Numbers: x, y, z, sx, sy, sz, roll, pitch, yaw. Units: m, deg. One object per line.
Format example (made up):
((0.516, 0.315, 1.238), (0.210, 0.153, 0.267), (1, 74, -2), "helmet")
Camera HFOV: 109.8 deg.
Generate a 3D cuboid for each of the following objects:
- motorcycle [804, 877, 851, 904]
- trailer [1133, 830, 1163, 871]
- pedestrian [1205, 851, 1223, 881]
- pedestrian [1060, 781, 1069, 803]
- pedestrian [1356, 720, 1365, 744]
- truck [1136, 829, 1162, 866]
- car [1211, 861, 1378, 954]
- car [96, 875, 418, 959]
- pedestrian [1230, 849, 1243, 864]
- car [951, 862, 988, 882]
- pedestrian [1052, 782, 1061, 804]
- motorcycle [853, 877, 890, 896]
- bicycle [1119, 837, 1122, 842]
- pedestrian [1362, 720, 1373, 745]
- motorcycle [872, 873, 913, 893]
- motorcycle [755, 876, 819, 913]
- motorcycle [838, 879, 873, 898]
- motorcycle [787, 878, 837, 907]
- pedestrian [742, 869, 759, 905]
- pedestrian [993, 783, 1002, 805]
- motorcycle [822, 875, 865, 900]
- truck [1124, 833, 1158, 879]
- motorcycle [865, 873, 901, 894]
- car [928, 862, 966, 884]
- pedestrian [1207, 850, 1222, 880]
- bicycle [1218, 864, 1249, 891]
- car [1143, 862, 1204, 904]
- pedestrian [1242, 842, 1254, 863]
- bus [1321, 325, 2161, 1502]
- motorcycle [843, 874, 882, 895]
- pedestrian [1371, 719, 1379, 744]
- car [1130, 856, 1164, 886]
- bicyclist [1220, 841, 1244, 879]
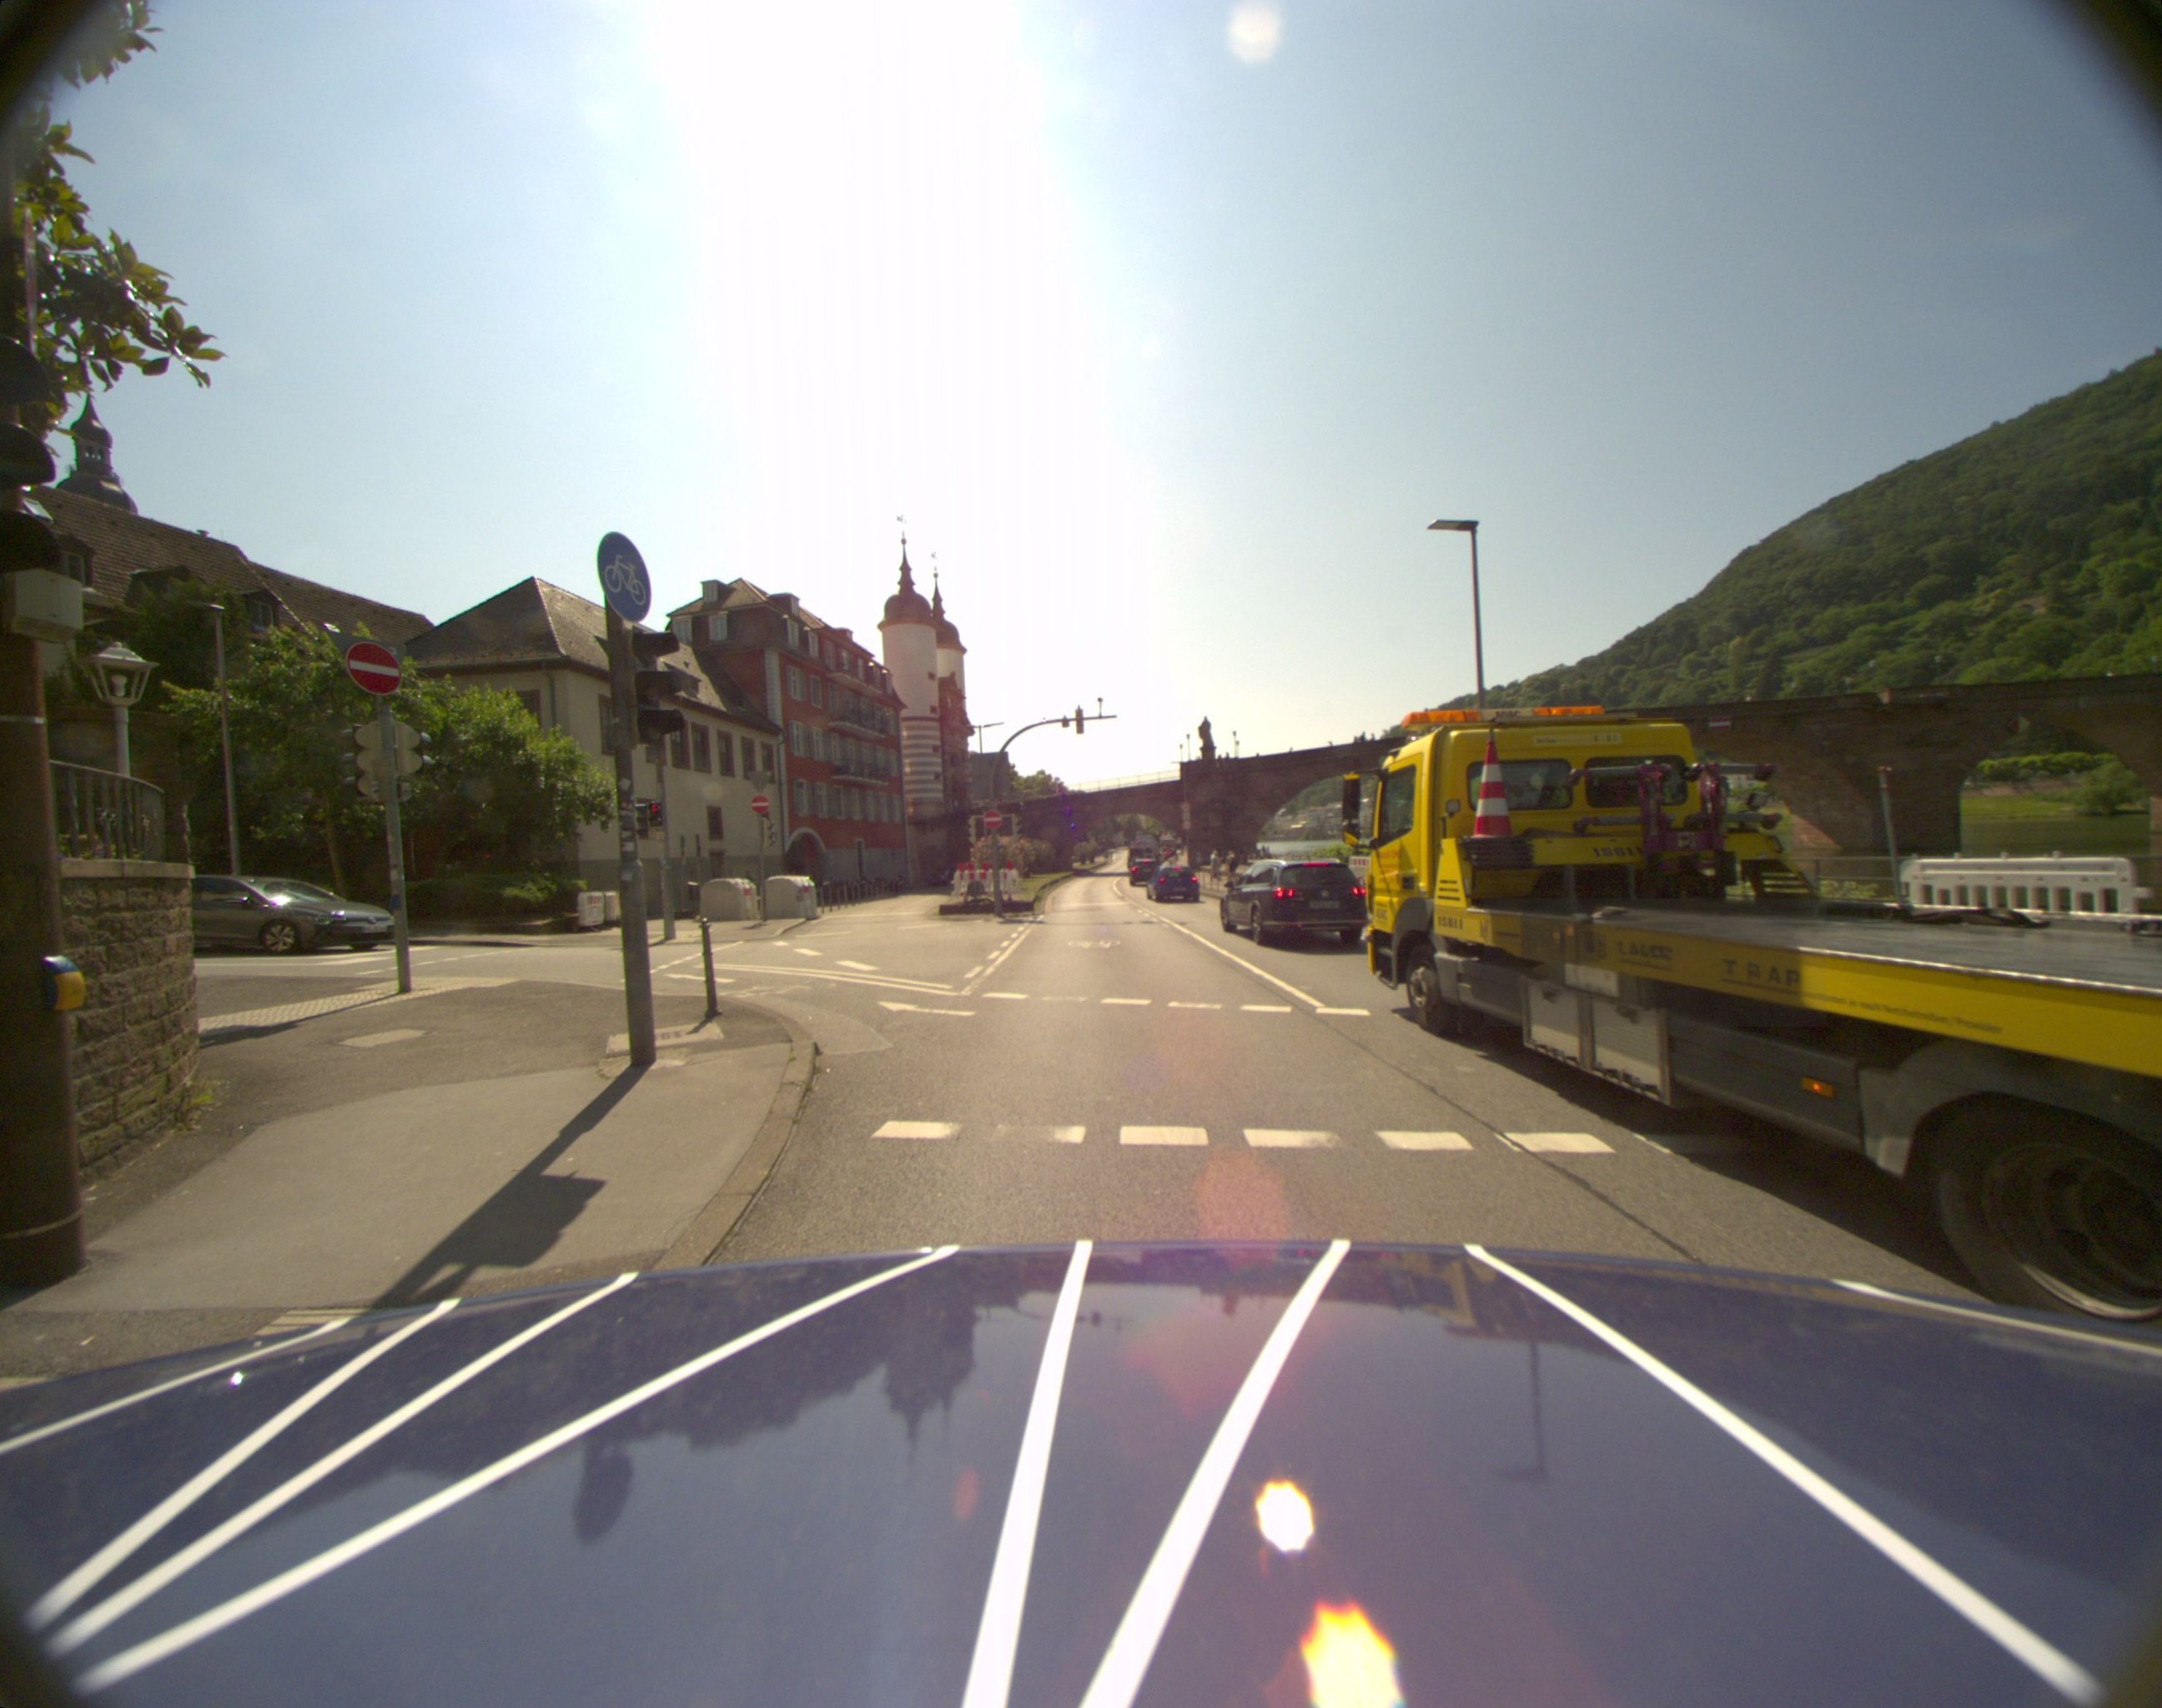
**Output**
((-13.339, 1.893, 39.975), (2.201, 1.260, 0.627), (-3, 1, -31), "motorcycle")
((6.539, -0.495, 73.723), (2.529, 3.623, 11.532), (-2, 1, 5), "trailer")
((7.735, 0.689, 44.315), (0.758, 1.712, 0.543), (-4, 1, -33), "pedestrian")
((-1.587, -5.941, 73.016), (0.640, 2.002, 0.707), (-2, 2, 8), "pedestrian")
((24.386, -10.632, 66.265), (0.467, 2.002, 0.639), (-2, 2, 0), "pedestrian")
((7.173, -0.675, 79.990), (2.529, 3.727, 6.248), (-1, 1, 6), "truck")
((3.809, 0.883, 14.396), (1.813, 1.398, 4.356), (-2, 0, -1), "car")
((-15.500, 1.185, 14.491), (3.997, 1.476, 1.862), (0, -3, -1), "car")
((13.043, 0.191, 63.764), (0.790, 1.222, 1.026), (-3, 0, 3), "pedestrian")
((-10.011, 1.593, 68.596), (1.896, 1.484, 4.418), (-2, 1, 10), "car")
((-2.402, -5.942, 74.079), (0.640, 2.002, 0.707), (-2, 2, 8), "pedestrian")
((-13.567, 2.069, 49.165), (2.202, 1.070, 0.627), (-3, 1, -39), "motorcycle")
((9.283, -3.448, 177.967), (0.476, 1.255, 2.163), (0, 2, 8), "bicycle")
((24.981, -10.590, 66.307), (0.694, 2.002, 0.625), (-2, 2, 0), "pedestrian")
((-13.065, 2.009, 52.738), (2.547, 1.226, 0.840), (-3, 0, -36), "motorcycle")
((-13.484, 1.836, 34.925), (2.501, 1.524, 1.051), (-3, 1, -33), "motorcycle")
((-13.648, 2.100, 46.100), (1.935, 0.981, 0.546), (-3, 1, -39), "motorcycle")
((-13.519, 1.927, 38.225), (2.239, 1.245, 0.627), (-3, 1, -31), "motorcycle")
((-16.876, 1.678, 38.822), (0.496, 1.813, 0.619), (-2, 2, 1), "pedestrian")
((-7.940, -5.646, 72.020), (0.640, 2.002, 0.707), (-2, 2, 8), "pedestrian")
((-13.502, 1.893, 43.205), (2.186, 1.260, 0.781), (-3, 1, -31), "motorcycle")
((4.772, 0.069, 59.596), (2.381, 3.243, 7.612), (-2, 1, 5), "truck")
((-13.284, 1.968, 51.011), (2.157, 1.226, 0.840), (-3, 0, -36), "motorcycle")
((-11.179, 1.587, 63.787), (1.674, 1.533, 3.814), (-3, 1, 14), "car")
((8.327, 0.687, 47.308), (0.520, 1.782, 0.823), (-3, 1, 31), "pedestrian")
((6.876, 1.038, 34.395), (0.669, 1.106, 2.032), (-5, 1, -9), "bicycle")
((3.649, 1.102, 30.799), (1.734, 1.482, 4.324), (-2, 0, -3), "car")
((13.858, -0.118, 63.044), (0.790, 1.641, 0.774), (-3, 0, 3), "pedestrian")
((3.937, 0.141, 3.968), (2.603, 2.879, 8.447), (-2, 0, 0), "bus")
((-13.717, 1.910, 47.688), (2.202, 1.141, 0.627), (-3, 1, -39), "motorcycle")
((25.646, -10.684, 66.287), (0.467, 2.002, 0.639), (-2, 2, 0), "pedestrian")
((4.034, 0.986, 46.832), (1.867, 1.671, 4.455), (-2, 0, 3), "car")
((6.824, 0.265, 34.355), (0.669, 1.622, 0.979), (-4, 1, -9), "bicyclist")
